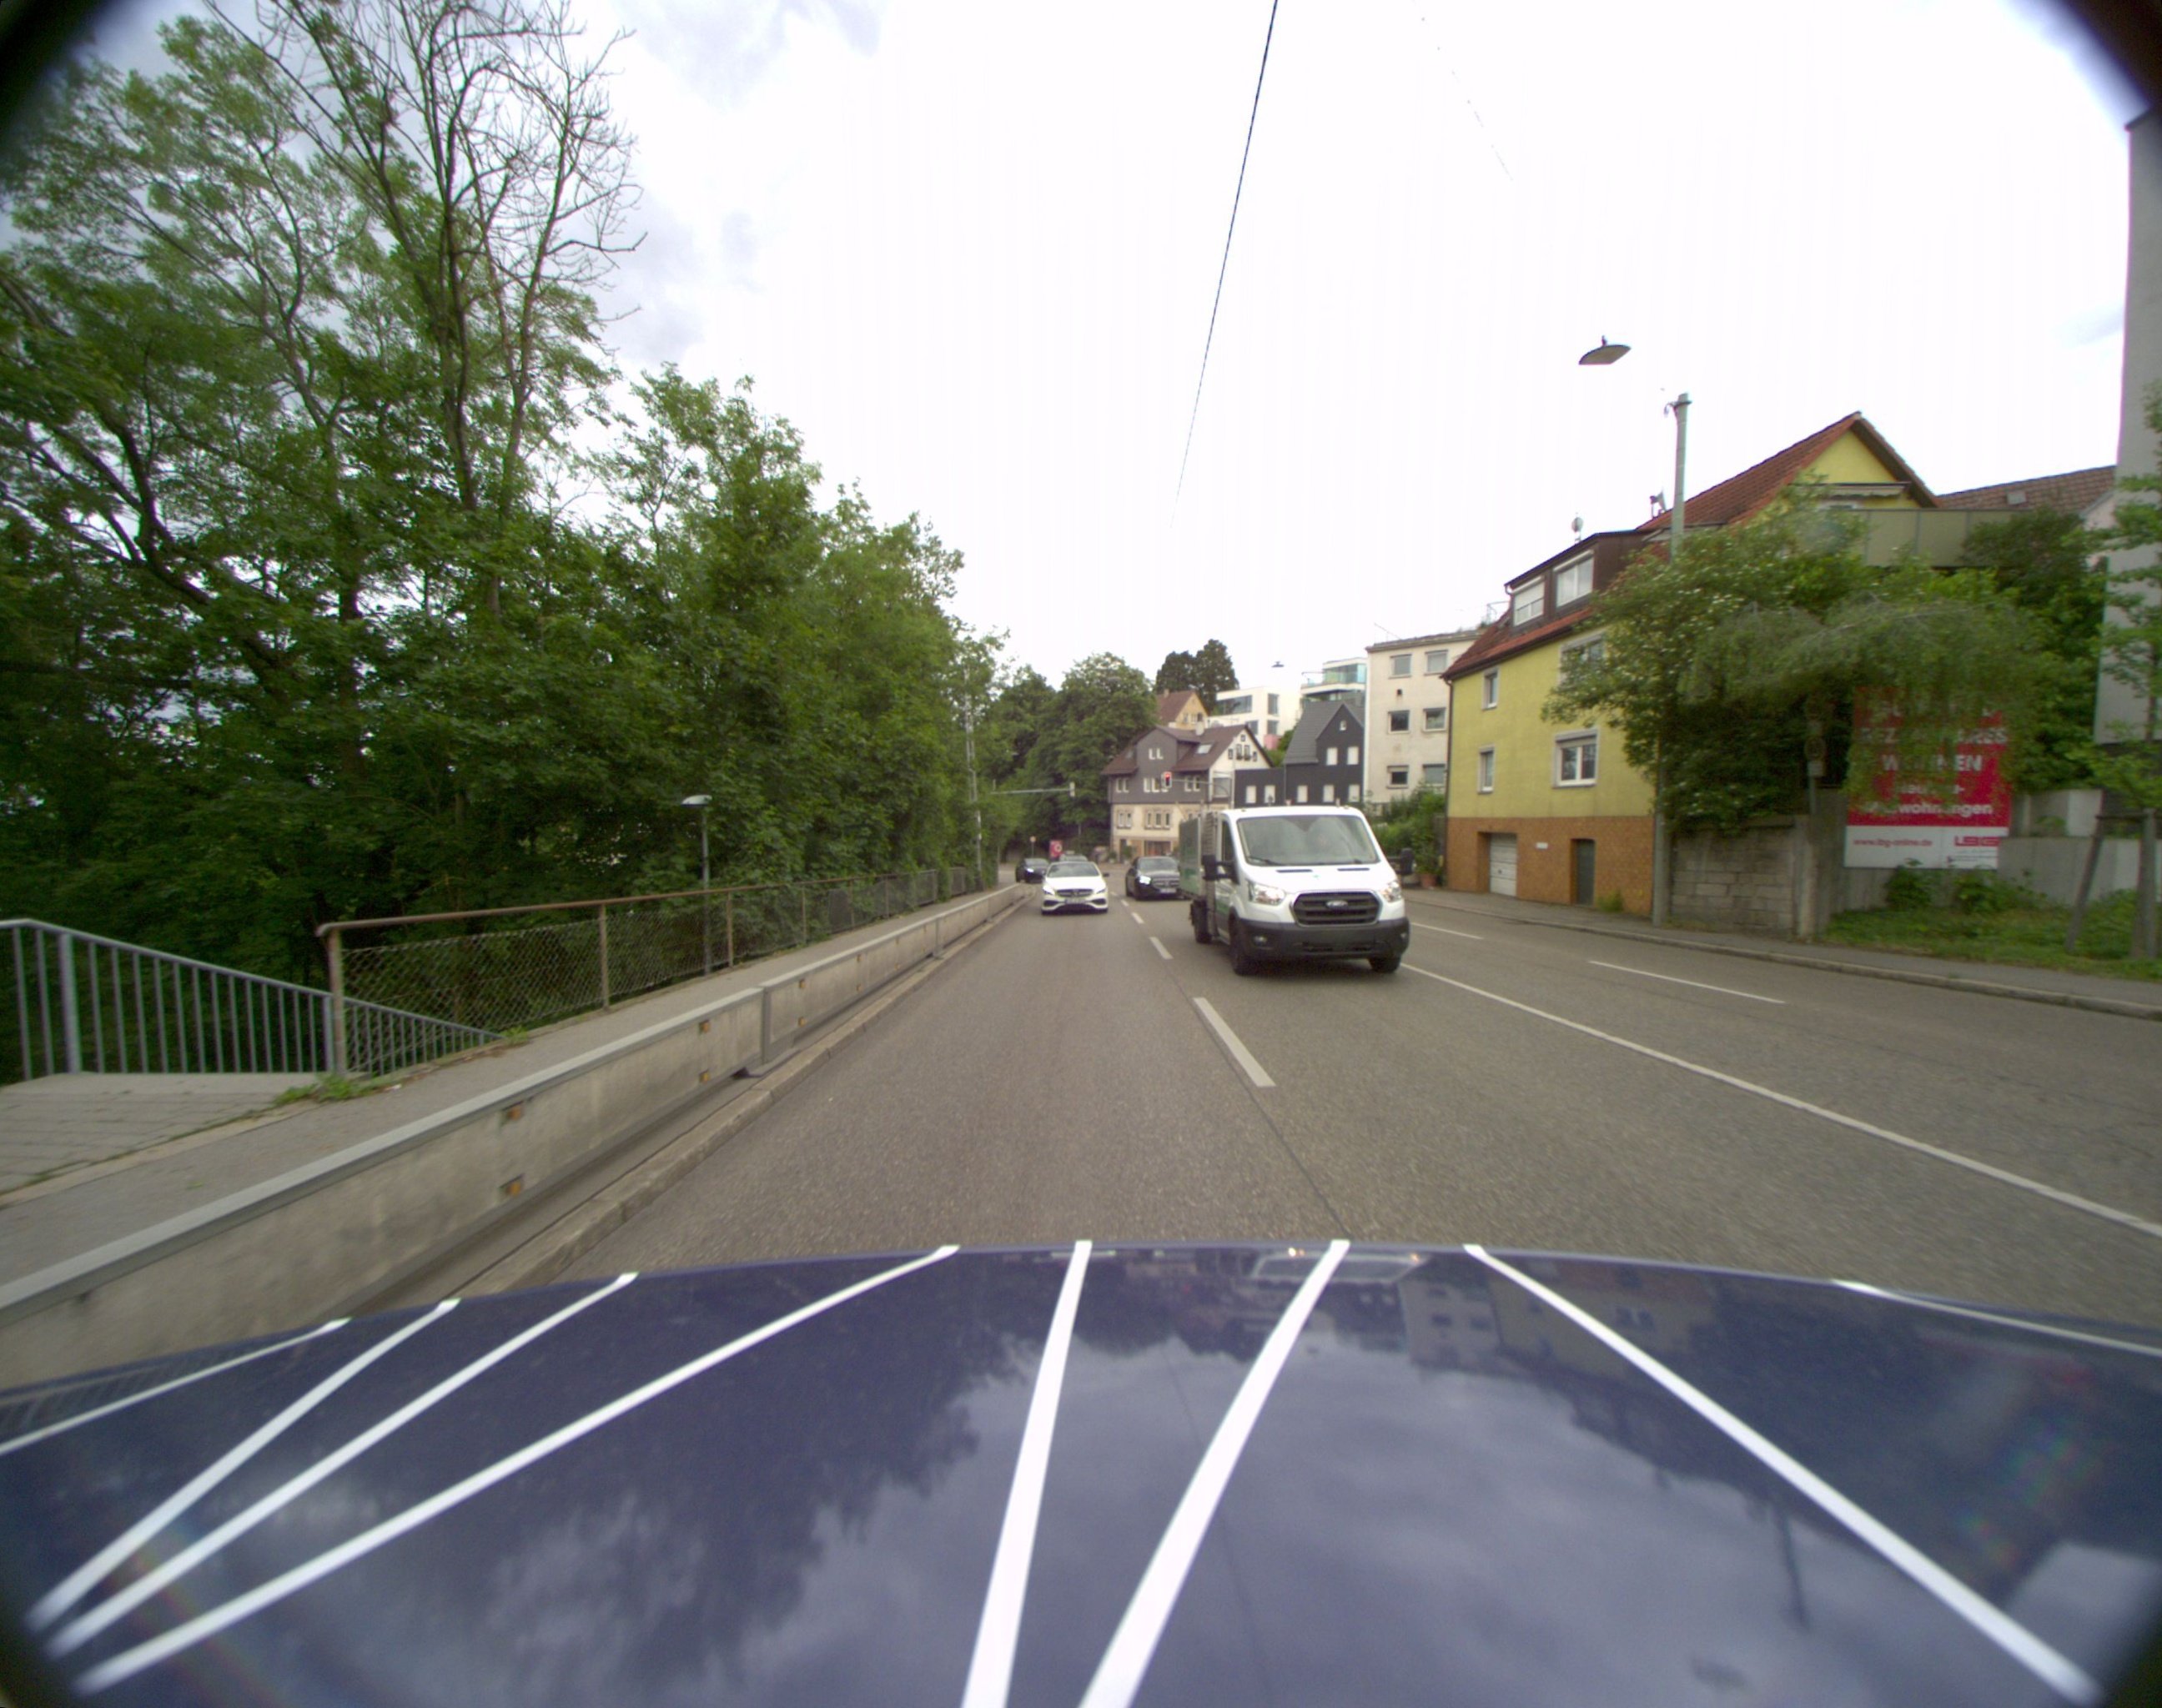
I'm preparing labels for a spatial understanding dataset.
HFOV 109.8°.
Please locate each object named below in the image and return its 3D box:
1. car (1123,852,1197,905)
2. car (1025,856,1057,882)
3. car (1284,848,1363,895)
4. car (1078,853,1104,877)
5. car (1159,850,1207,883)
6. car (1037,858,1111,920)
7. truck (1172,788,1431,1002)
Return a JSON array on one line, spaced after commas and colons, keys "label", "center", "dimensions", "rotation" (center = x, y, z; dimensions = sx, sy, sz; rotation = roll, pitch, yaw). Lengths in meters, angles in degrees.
[{"label": "car", "center": [2.635, 0.766, 26.427], "dimensions": [1.916, 1.472, 4.398], "rotation": [-3, 2, -2]}, {"label": "car", "center": [-2.427, 0.875, 46.491], "dimensions": [1.778, 1.532, 3.999], "rotation": [0, 0, -1]}, {"label": "car", "center": [8.985, 0.598, 28.495], "dimensions": [1.748, 1.604, 4.056], "rotation": [2, 0, 2]}, {"label": "car", "center": [0.654, 0.681, 49.833], "dimensions": [1.693, 1.499, 4.000], "rotation": [0, 0, 1]}, {"label": "car", "center": [5.538, 0.642, 41.738], "dimensions": [1.901, 1.685, 4.346], "rotation": [-2, 1, -2]}, {"label": "car", "center": [-0.185, 0.906, 21.427], "dimensions": [1.817, 1.391, 3.999], "rotation": [-3, 1, 0]}, {"label": "truck", "center": [2.801, 0.438, 11.480], "dimensions": [2.080, 2.307, 6.331], "rotation": [-1, 0, 0]}]
